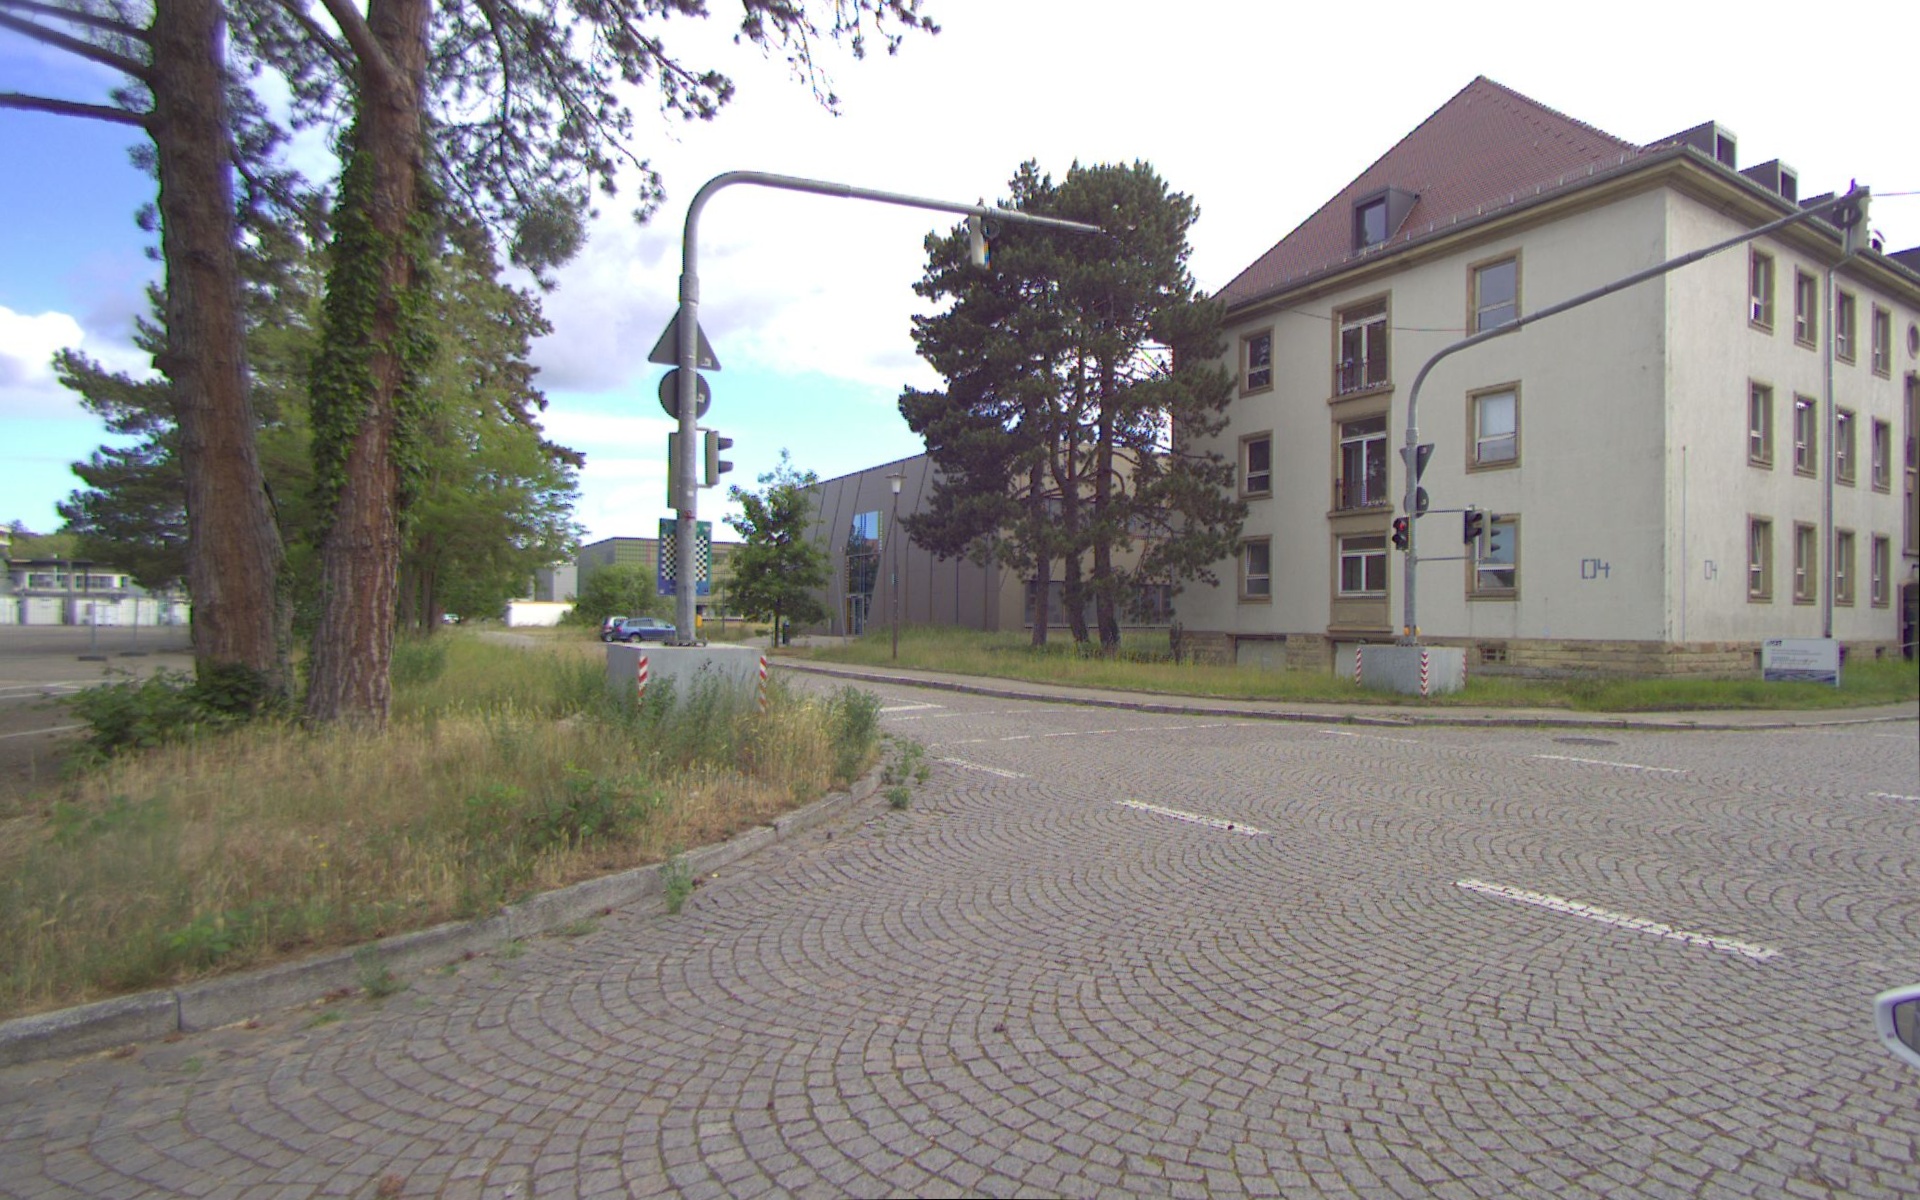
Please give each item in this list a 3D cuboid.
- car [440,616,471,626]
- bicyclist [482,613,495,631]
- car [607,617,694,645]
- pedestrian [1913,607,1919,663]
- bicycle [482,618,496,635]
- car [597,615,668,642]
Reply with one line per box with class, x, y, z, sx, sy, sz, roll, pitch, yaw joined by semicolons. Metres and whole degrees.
car;-79.906;3.328;159.152;4.286;1.570;1.984;1;-1;-31
bicyclist;-40.976;1.913;87.344;0.891;1.562;0.860;1;0;-33
car;-17.829;1.765;57.876;4.449;1.482;1.916;-1;0;-34
pedestrian;31.340;1.116;32.241;0.929;1.805;0.834;1;-1;-26
bicycle;-41.002;2.319;87.379;0.817;1.395;2.024;1;0;-32
car;-21.044;1.798;64.584;4.078;1.593;1.748;-1;0;-34
